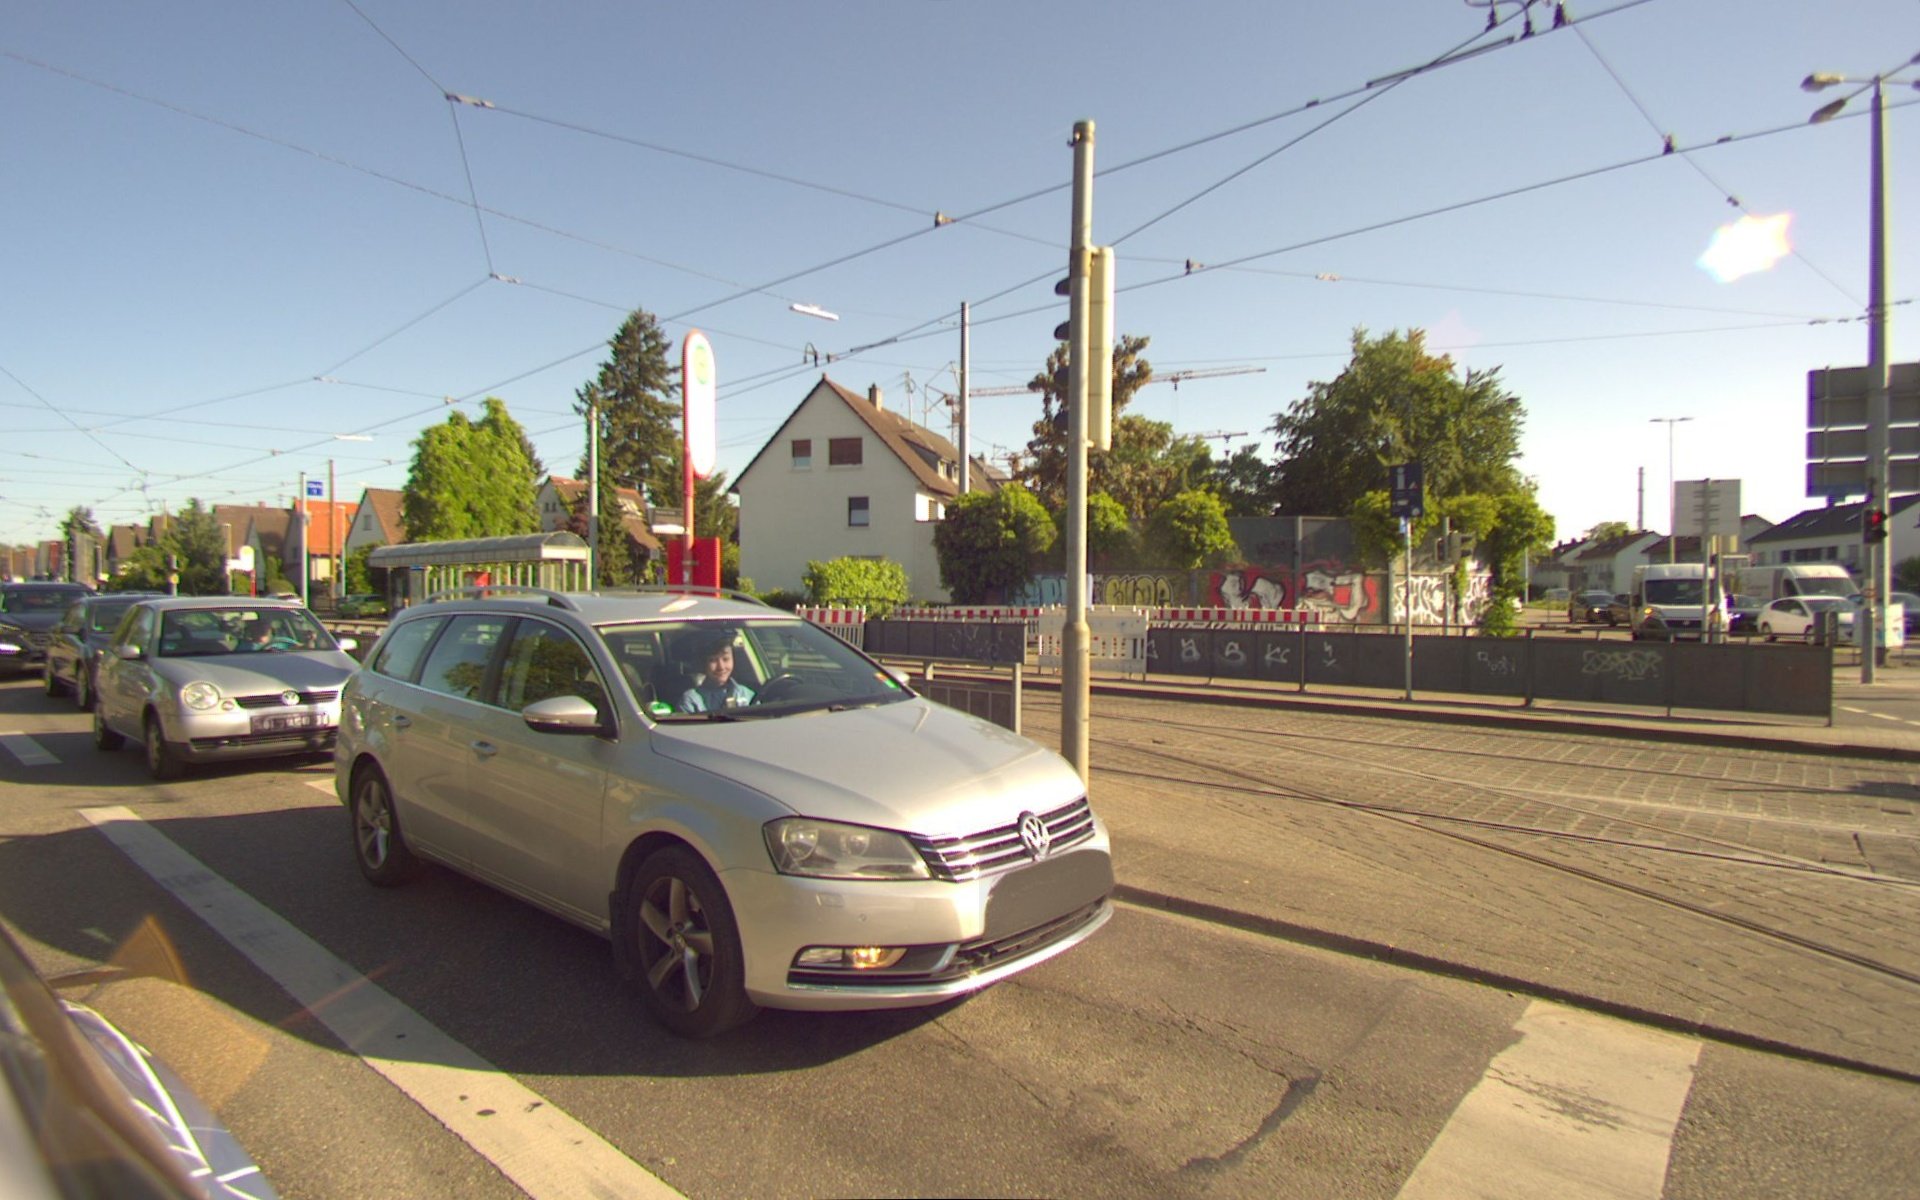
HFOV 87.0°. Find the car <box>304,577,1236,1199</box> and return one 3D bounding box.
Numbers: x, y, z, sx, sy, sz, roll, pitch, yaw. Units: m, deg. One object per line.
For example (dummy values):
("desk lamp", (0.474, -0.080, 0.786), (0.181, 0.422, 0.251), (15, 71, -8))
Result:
("car", (-1.200, 0.730, 4.649), (4.418, 1.539, 1.858), (0, -1, 40))

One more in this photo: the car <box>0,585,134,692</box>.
("car", (-16.489, 0.634, 18.131), (4.297, 1.709, 1.862), (0, -1, 40))

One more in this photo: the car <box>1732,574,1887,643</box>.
("car", (31.917, 0.321, 38.301), (2.161, 2.429, 5.892), (0, -1, 15))

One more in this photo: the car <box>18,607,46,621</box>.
("car", (-103.422, 1.534, 112.775), (3.999, 1.475, 1.972), (0, -1, 42))

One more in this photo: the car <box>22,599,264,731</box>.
("car", (-11.292, 0.779, 13.893), (4.190, 1.546, 1.733), (0, -1, 39))

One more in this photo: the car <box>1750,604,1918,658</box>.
("car", (25.457, 0.859, 29.706), (1.919, 1.477, 4.347), (0, -1, 13))

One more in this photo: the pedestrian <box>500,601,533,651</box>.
("pedestrian", (-12.793, 0.736, 29.200), (0.710, 1.425, 0.615), (-1, 0, 39))

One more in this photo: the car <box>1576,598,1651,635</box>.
("car", (31.675, 0.798, 49.171), (1.982, 1.715, 3.979), (0, 0, 16))

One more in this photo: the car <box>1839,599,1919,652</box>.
("car", (29.802, 0.772, 31.822), (1.648, 1.586, 3.980), (0, -1, 15))

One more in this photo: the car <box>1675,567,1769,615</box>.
("car", (33.176, -0.358, 44.202), (1.790, 2.029, 3.983), (0, -1, 13))

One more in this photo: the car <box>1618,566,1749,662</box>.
("car", (20.992, 0.384, 29.682), (2.339, 2.476, 6.802), (0, -1, 29))

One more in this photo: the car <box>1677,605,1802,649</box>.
("car", (27.547, 0.916, 35.940), (1.919, 1.477, 4.241), (0, -1, 13))

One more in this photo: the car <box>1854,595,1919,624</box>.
("car", (59.844, 0.589, 65.004), (1.981, 1.775, 3.981), (0, 0, 14))

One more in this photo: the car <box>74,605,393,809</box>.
("car", (-6.617, 0.797, 9.106), (3.412, 1.479, 1.565), (0, 0, 40))

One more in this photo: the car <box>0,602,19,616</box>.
("car", (-124.575, 1.135, 132.219), (3.999, 1.785, 1.972), (0, -1, 42))
